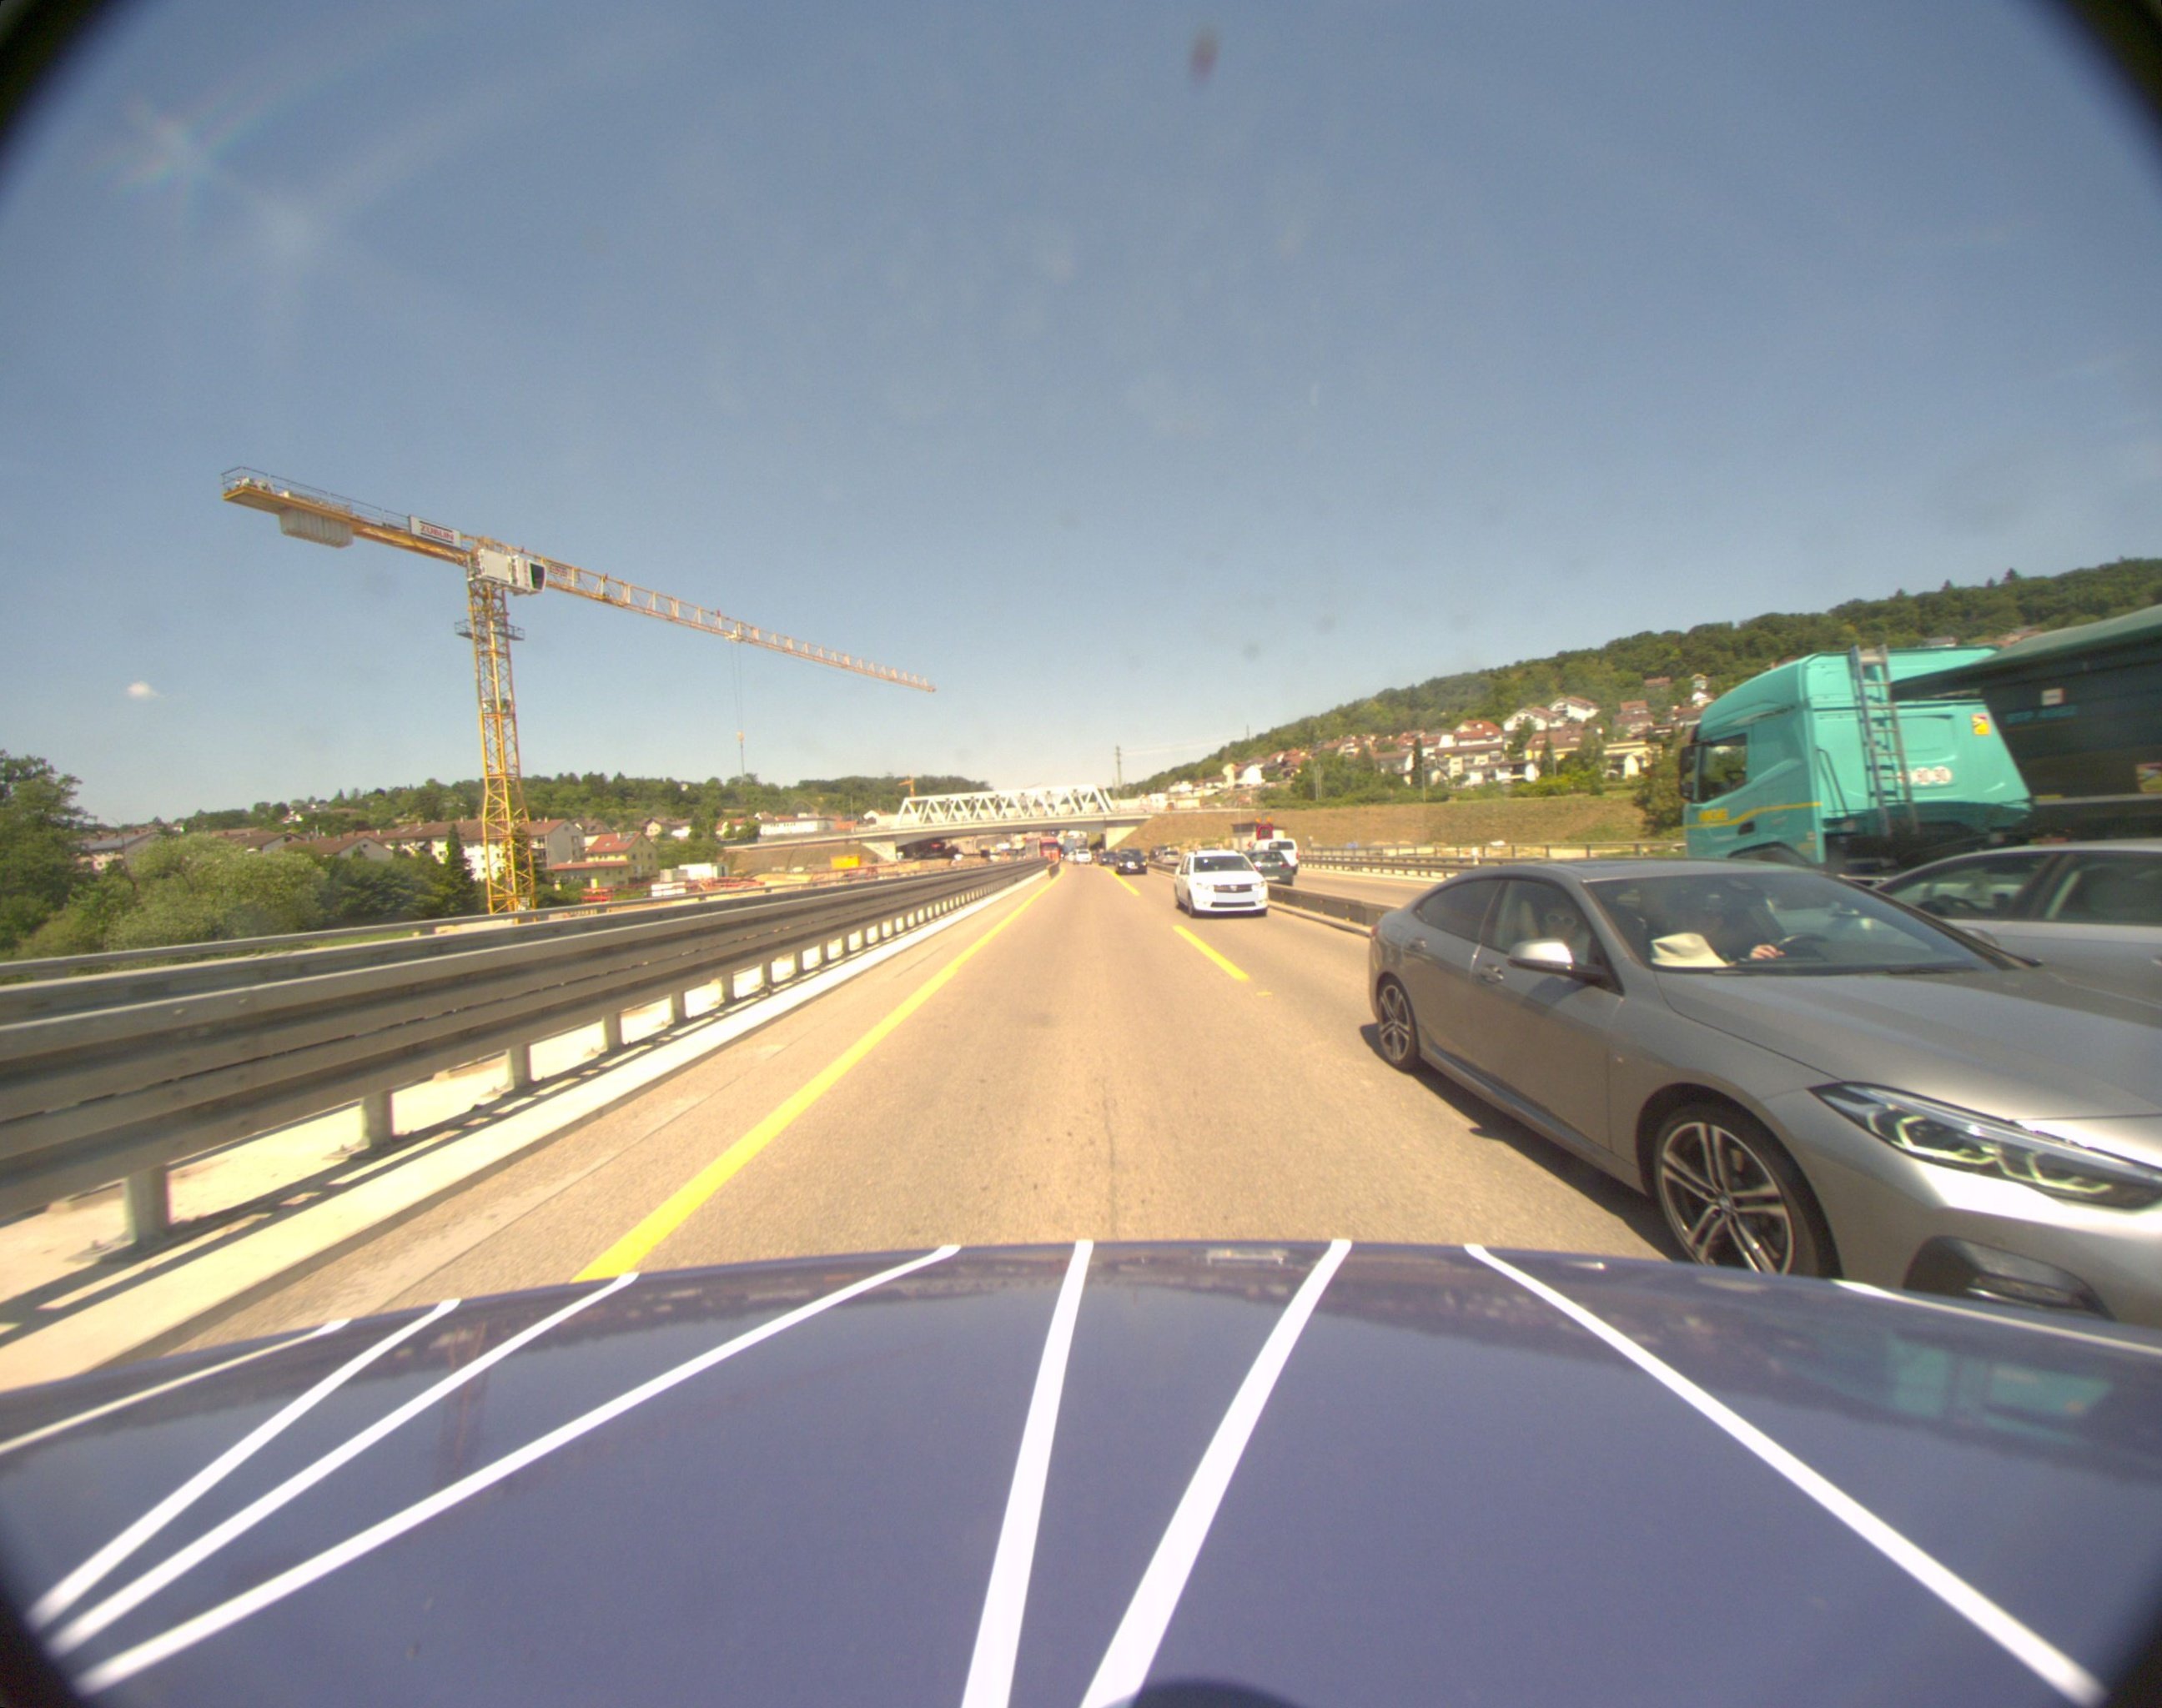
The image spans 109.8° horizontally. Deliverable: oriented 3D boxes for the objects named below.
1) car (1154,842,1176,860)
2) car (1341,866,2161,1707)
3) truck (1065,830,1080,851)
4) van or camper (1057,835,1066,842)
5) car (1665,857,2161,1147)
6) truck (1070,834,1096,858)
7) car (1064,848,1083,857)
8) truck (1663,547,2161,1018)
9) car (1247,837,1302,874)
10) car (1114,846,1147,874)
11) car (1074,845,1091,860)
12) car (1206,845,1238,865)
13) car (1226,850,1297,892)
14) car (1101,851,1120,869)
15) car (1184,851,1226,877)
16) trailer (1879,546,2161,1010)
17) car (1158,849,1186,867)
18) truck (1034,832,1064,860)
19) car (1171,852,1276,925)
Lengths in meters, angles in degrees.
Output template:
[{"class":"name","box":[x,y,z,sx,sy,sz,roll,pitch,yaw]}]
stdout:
[{"class":"car","box":[9.909,-0.355,90.157,1.928,1.922,4.938,-4,0,1]},{"class":"car","box":[2.943,0.849,3.519,1.856,1.443,4.742,-1,0,0]},{"class":"truck","box":[-1.951,-3.073,178.195,3.173,4.531,12.085,0,0,1]},{"class":"van or camper","box":[-5.625,-4.393,216.493,2.332,2.068,5.424,-2,1,-4]},{"class":"car","box":[6.139,0.725,4.502,1.785,1.372,4.711,0,0,1]},{"class":"truck","box":[0.175,-1.565,143.701,3.269,4.112,17.322,-3,1,-5]},{"class":"car","box":[-1.258,-0.246,125.512,2.018,1.516,4.187,-1,0,-17]},{"class":"truck","box":[9.918,-0.621,8.404,2.804,3.700,5.373,-2,1,0]},{"class":"car","box":[10.485,0.060,41.547,1.863,1.856,4.629,-1,0,1]},{"class":"car","box":[3.164,0.361,49.309,1.862,1.682,4.097,-3,0,0]},{"class":"car","box":[0.216,-0.155,98.456,1.792,1.871,3.998,-4,0,-5]},{"class":"car","box":[11.583,0.084,62.519,1.818,1.560,3.999,-1,0,-1]},{"class":"car","box":[6.455,0.553,27.560,1.635,1.400,4.103,0,0,1]},{"class":"car","box":[2.999,0.582,76.708,1.791,1.578,4.000,-4,0,2]},{"class":"car","box":[6.704,0.511,41.471,1.683,1.384,4.156,0,0,1]},{"class":"trailer","box":[9.918,-0.614,3.615,2.801,3.651,8.955,-2,1,0]},{"class":"car","box":[7.300,0.292,61.297,1.830,1.410,4.657,0,0,1]},{"class":"truck","box":[-4.451,-1.102,104.754,2.705,3.705,8.497,-2,1,-12]},{"class":"car","box":[3.321,0.737,18.587,1.823,1.521,4.706,-1,0,2]}]
